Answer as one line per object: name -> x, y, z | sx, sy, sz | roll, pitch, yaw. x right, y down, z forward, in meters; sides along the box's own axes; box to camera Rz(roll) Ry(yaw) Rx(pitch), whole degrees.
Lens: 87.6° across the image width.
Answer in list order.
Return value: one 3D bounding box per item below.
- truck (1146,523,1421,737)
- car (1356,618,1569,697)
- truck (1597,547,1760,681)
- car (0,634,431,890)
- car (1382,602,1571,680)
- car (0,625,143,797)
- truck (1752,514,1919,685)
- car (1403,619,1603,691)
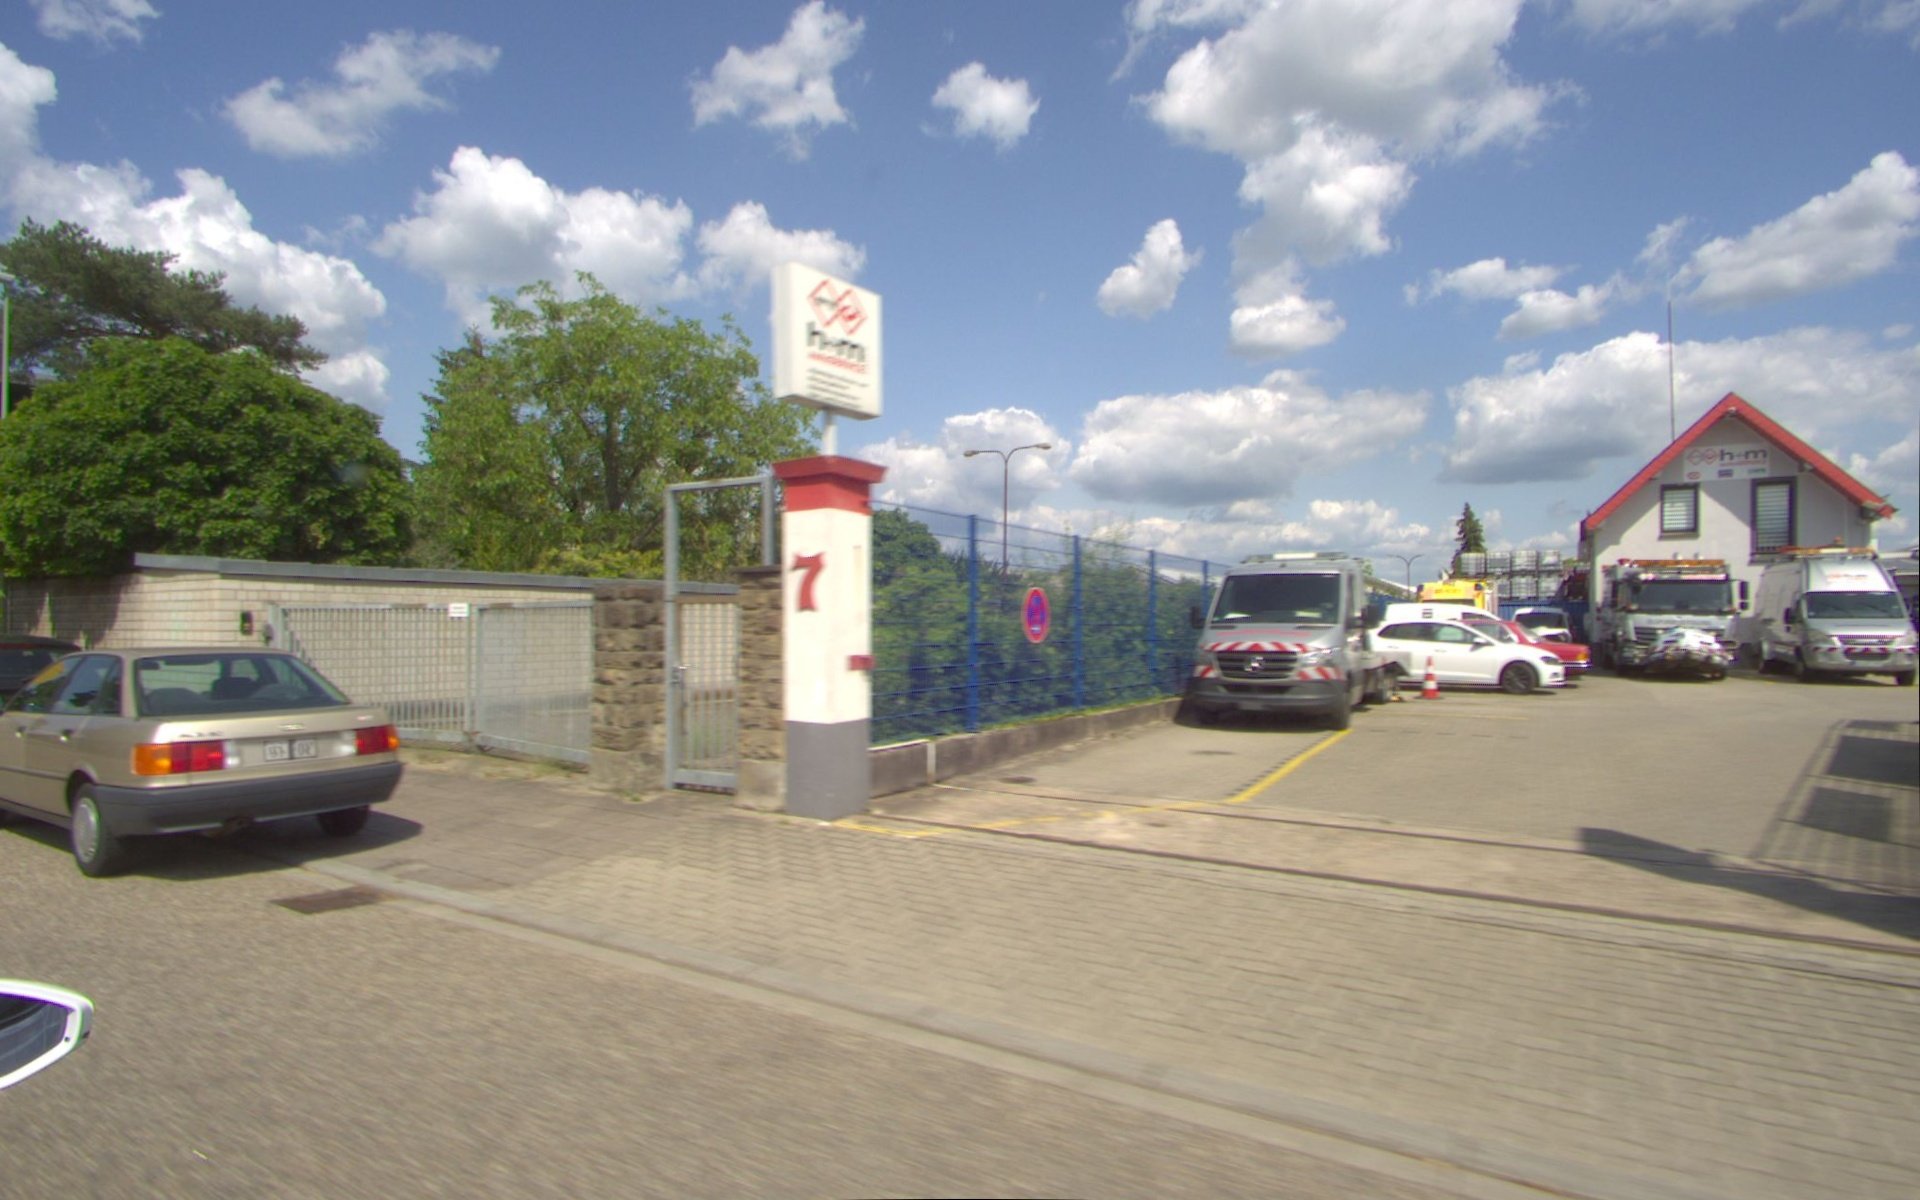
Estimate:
truck -> 5.392, 0.450, 15.689 | 2.540, 2.558, 7.066 | 0, -1, 31
car -> 10.013, 1.090, 20.140 | 3.678, 1.438, 1.758 | 0, -1, 27
truck -> 17.862, 0.393, 25.331 | 2.775, 2.882, 7.241 | 0, -1, 31
car -> -6.032, 0.992, 7.555 | 4.359, 1.404, 1.649 | 0, -2, 32
car -> 12.635, 0.973, 24.683 | 4.009, 1.788, 1.825 | 0, -1, 27
car -> -9.952, 0.978, 9.814 | 4.220, 1.460, 1.660 | 0, -1, 31
truck -> 21.049, 0.084, 24.245 | 2.112, 3.574, 6.683 | 0, -1, 31
car -> 11.710, 1.141, 21.816 | 3.678, 1.438, 1.825 | 0, -1, 27
